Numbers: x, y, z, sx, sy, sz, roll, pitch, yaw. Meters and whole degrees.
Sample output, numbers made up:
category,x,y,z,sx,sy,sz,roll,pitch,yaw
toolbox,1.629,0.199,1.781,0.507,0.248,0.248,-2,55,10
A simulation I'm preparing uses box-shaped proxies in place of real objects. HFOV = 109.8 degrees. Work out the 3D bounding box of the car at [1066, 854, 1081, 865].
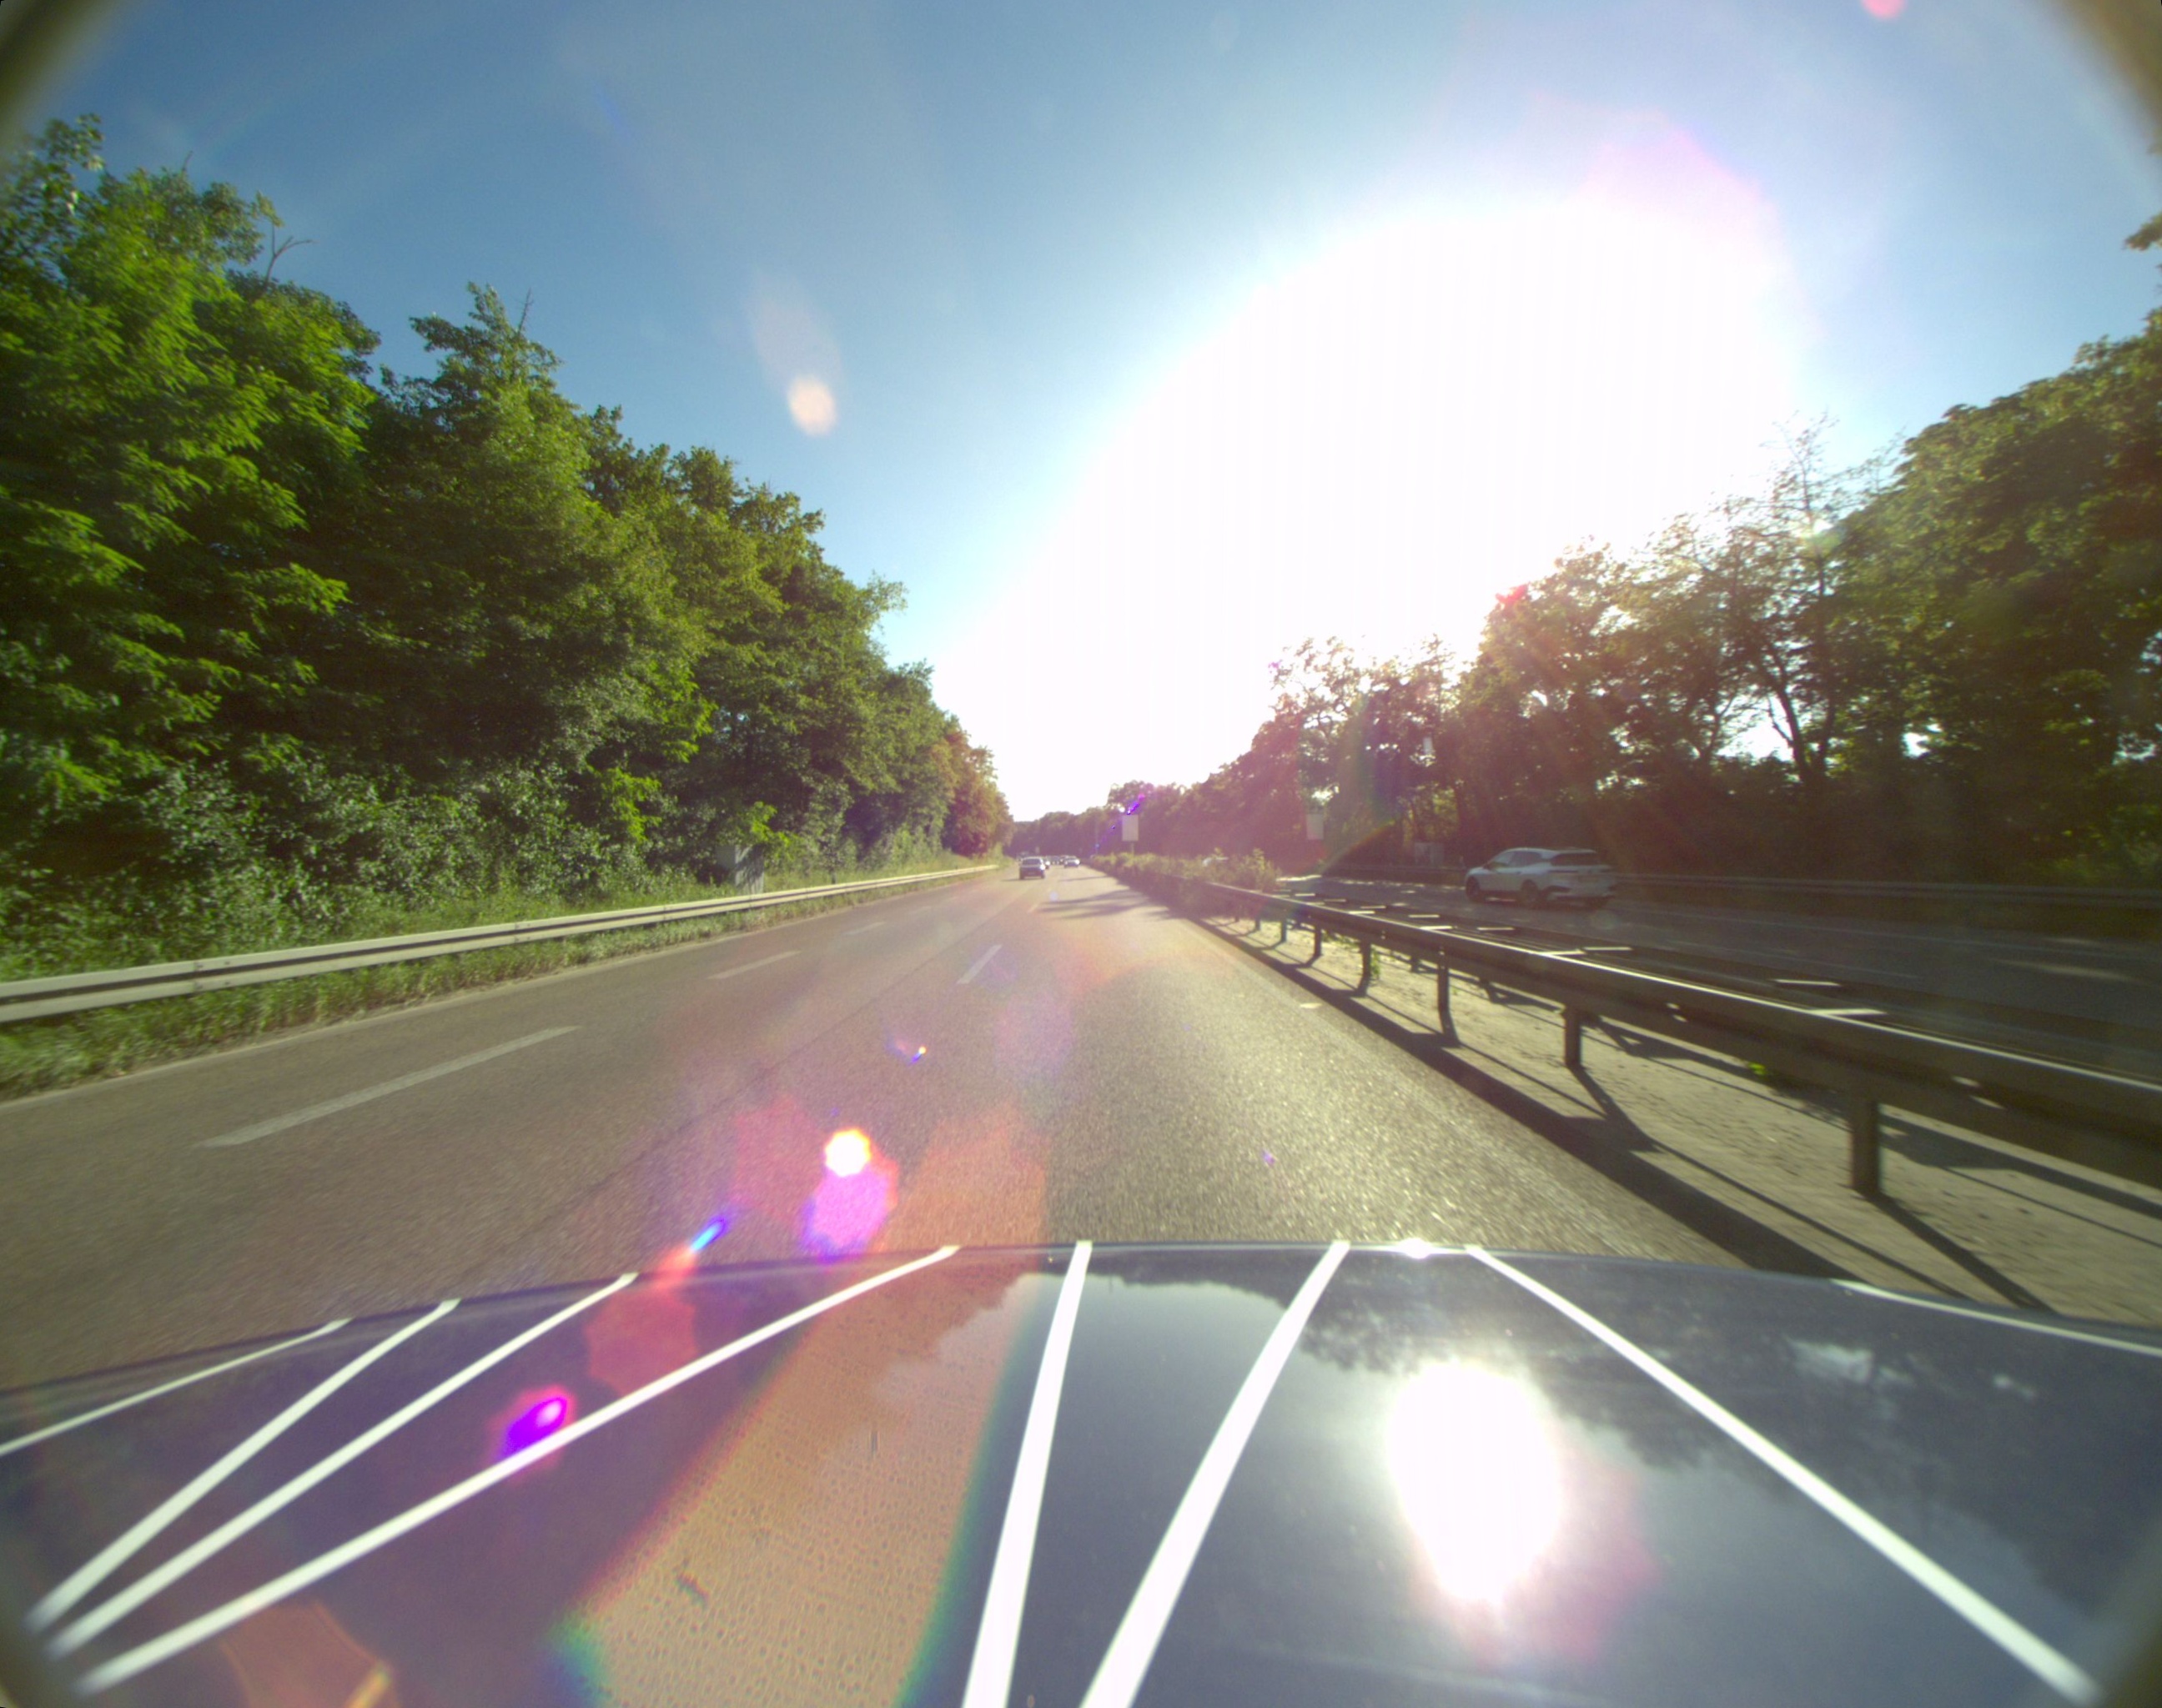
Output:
category,x,y,z,sx,sy,sz,roll,pitch,yaw
car,-1.018,0.709,100.104,1.904,1.453,4.355,-1,0,-2

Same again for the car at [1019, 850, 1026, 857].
category,x,y,z,sx,sy,sz,roll,pitch,yaw
car,-18.109,-0.158,235.183,2.000,2.002,3.997,-1,0,-8

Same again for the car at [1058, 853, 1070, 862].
category,x,y,z,sx,sy,sz,roll,pitch,yaw
car,-2.888,0.611,129.018,1.801,1.453,4.354,-1,0,-4

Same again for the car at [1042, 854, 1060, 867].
category,x,y,z,sx,sy,sz,roll,pitch,yaw
car,-3.615,0.720,90.528,1.802,1.453,4.353,-1,0,-6

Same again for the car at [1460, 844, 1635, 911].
category,x,y,z,sx,sy,sz,roll,pitch,yaw
car,13.075,0.585,21.781,1.965,1.649,5.040,-2,0,1

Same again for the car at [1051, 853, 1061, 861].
category,x,y,z,sx,sy,sz,roll,pitch,yaw
car,-4.793,0.576,145.671,1.801,1.453,4.400,-1,0,-4

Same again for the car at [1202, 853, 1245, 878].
category,x,y,z,sx,sy,sz,roll,pitch,yaw
car,9.170,0.727,49.194,1.856,1.480,4.784,-1,0,0

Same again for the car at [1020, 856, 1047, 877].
category,x,y,z,sx,sy,sz,roll,pitch,yaw
car,-3.474,0.882,55.172,1.801,1.453,4.354,-1,0,-4
